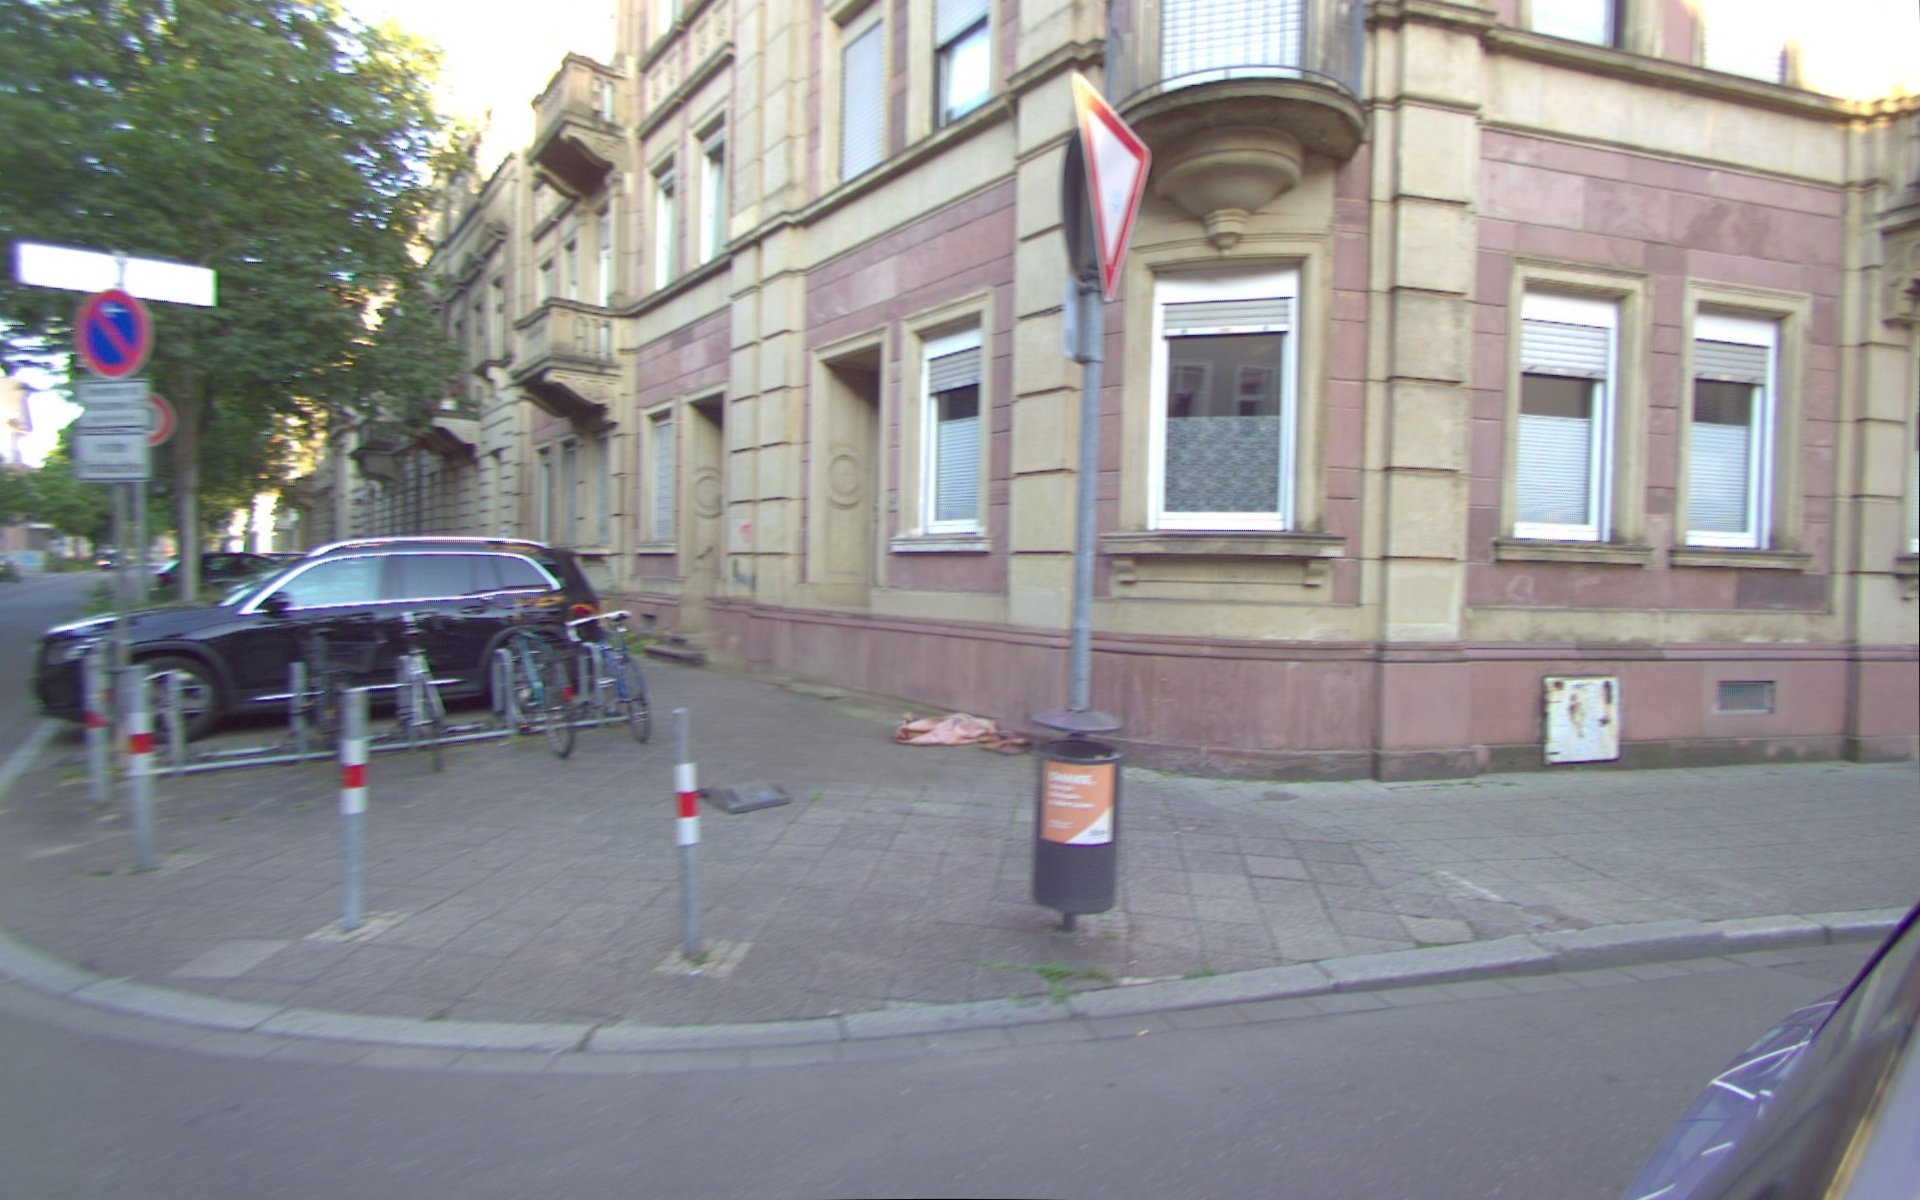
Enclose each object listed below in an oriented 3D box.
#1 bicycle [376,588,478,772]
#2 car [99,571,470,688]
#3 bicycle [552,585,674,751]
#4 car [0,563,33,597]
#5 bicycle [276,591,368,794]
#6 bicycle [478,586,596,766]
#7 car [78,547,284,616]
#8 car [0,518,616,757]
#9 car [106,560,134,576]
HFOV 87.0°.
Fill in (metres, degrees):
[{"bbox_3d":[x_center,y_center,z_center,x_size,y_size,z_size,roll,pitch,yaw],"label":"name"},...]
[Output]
[{"bbox_3d":[-3.918,0.509,7.381,0.358,1.102,1.870,-2,4,-37],"label":"bicycle"},{"bbox_3d":[-9.850,0.353,15.051,4.363,1.506,1.776,0,2,-37],"label":"car"},{"bbox_3d":[-2.795,0.470,8.040,0.358,1.102,1.870,-2,4,-37],"label":"bicycle"},{"bbox_3d":[-48.103,-0.996,49.139,4.363,1.633,1.776,0,2,-37],"label":"car"},{"bbox_3d":[-4.320,0.538,6.806,0.358,1.102,1.870,-2,4,-37],"label":"bicycle"},{"bbox_3d":[-3.184,0.493,7.529,0.358,1.102,1.870,-2,4,-37],"label":"bicycle"},{"bbox_3d":[-21.263,-0.506,27.830,4.363,1.760,1.776,0,1,-37],"label":"car"},{"bbox_3d":[-5.781,0.160,9.496,4.507,1.759,1.777,-2,4,-37],"label":"car"},{"bbox_3d":[-76.400,-2.895,92.066,1.795,1.389,3.998,0,2,-37],"label":"car"}]
